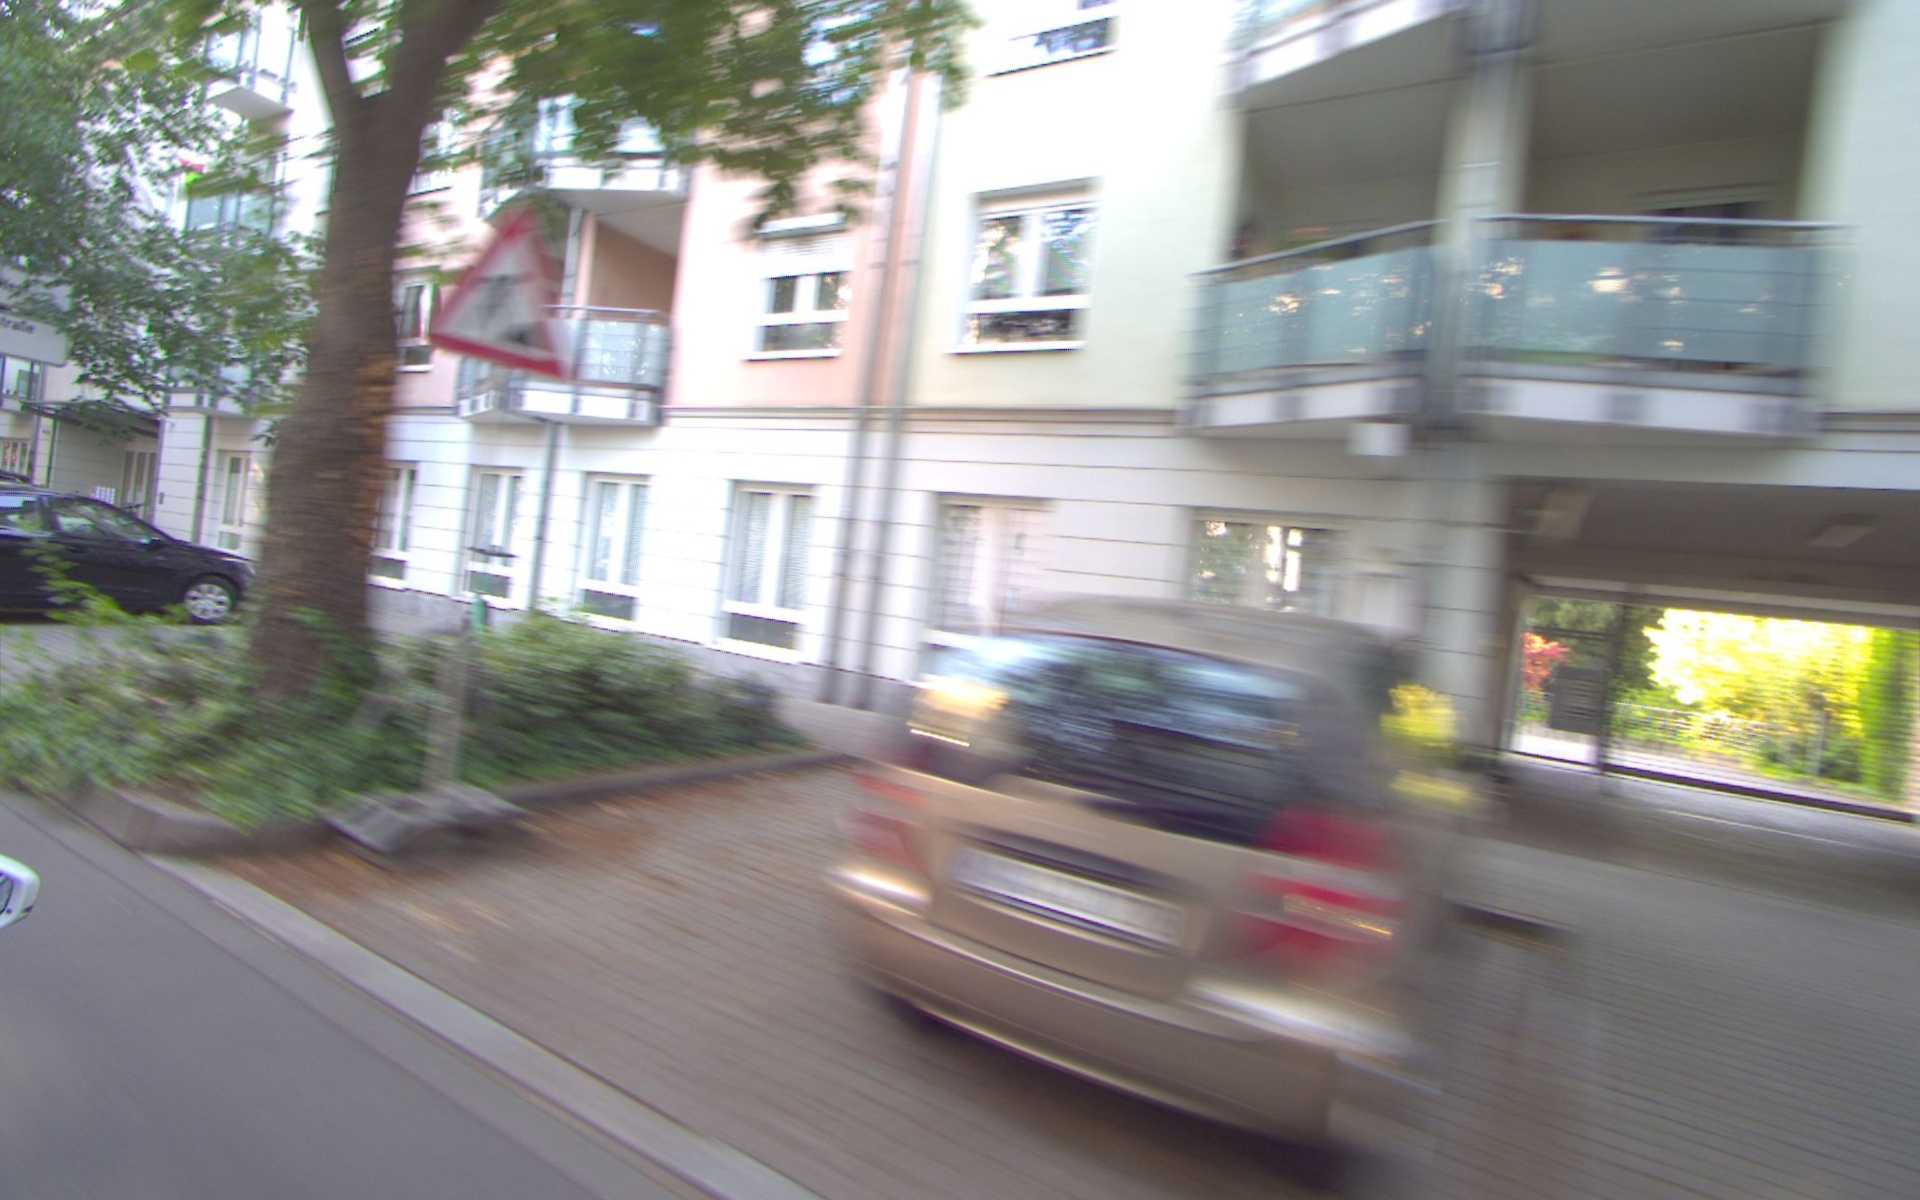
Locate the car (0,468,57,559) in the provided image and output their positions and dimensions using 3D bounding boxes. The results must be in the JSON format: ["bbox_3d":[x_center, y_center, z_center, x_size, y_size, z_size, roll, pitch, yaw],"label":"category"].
[{"bbox_3d":[-19.416,-1.750,17.842,1.975,1.639,4.645,7,3,29],"label":"car"}]

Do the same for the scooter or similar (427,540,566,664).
[{"bbox_3d":[-5.231,0.006,11.325,1.430,1.219,0.655,7,3,30],"label":"scooter or similar"}]

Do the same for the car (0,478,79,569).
[{"bbox_3d":[-17.360,-1.399,16.367,1.899,1.458,4.220,7,3,34],"label":"car"}]

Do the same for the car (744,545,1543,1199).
[{"bbox_3d":[1.235,0.795,4.282,1.885,1.606,3.970,7,2,32],"label":"car"}]

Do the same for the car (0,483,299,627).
[{"bbox_3d":[-10.379,-0.538,11.657,1.901,1.471,4.087,7,2,27],"label":"car"}]

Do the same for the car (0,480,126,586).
[{"bbox_3d":[-15.396,-1.130,14.693,1.766,1.487,4.600,7,2,32],"label":"car"}]
